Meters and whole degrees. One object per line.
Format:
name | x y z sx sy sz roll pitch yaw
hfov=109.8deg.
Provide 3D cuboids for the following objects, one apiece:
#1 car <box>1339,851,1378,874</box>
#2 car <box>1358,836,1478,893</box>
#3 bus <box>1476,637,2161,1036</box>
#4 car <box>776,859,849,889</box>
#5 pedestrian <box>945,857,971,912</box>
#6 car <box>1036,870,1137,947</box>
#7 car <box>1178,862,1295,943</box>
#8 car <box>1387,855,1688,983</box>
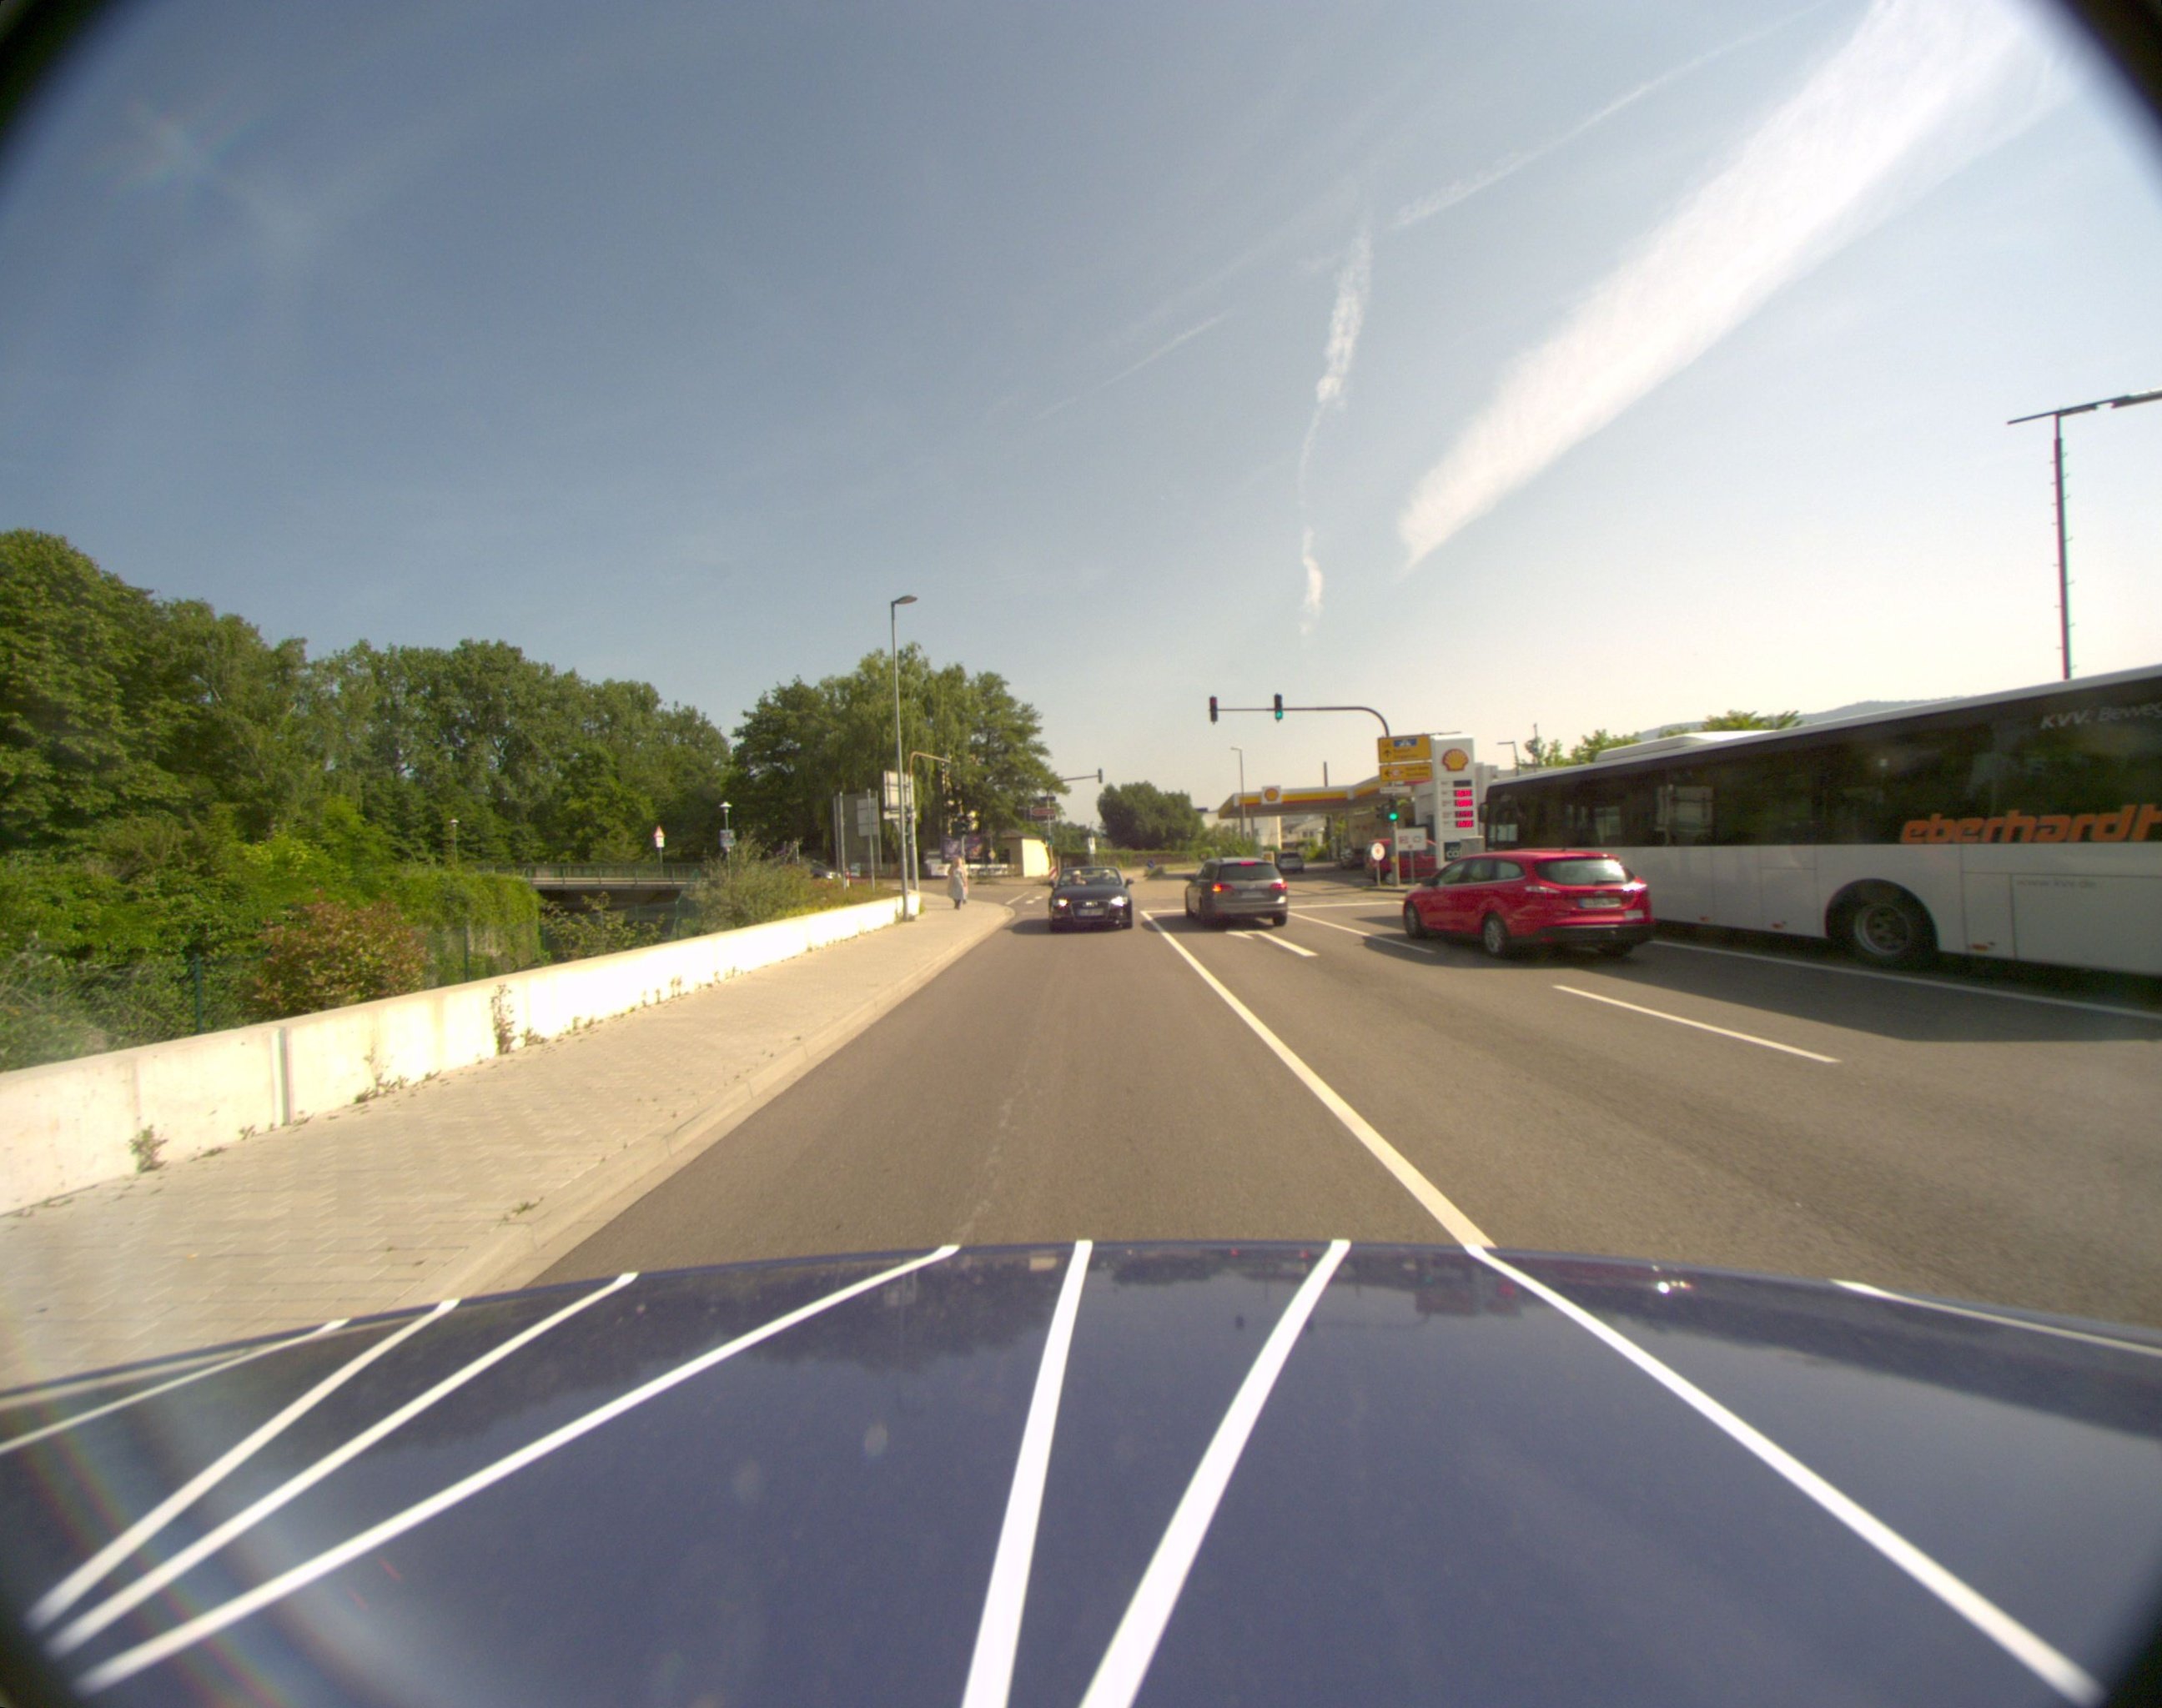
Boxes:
car | 18.761 0.559 51.527 1.631 1.403 4.230 -2 0 8
car | 13.046 0.404 29.606 3.783 1.785 1.703 -6 0 6
bus | 10.263 -0.184 11.226 2.627 3.290 11.956 -2 0 0
car | -14.938 1.071 42.164 4.072 1.509 1.671 0 1 33
pedestrian | -3.790 0.921 23.371 0.713 1.661 0.592 -2 1 -14
car | 0.223 1.077 16.496 1.868 1.323 4.233 -2 0 3
car | 3.284 0.964 16.845 1.776 1.464 4.220 -2 0 1
car | 6.407 0.787 11.390 1.842 1.483 4.432 -2 0 0
